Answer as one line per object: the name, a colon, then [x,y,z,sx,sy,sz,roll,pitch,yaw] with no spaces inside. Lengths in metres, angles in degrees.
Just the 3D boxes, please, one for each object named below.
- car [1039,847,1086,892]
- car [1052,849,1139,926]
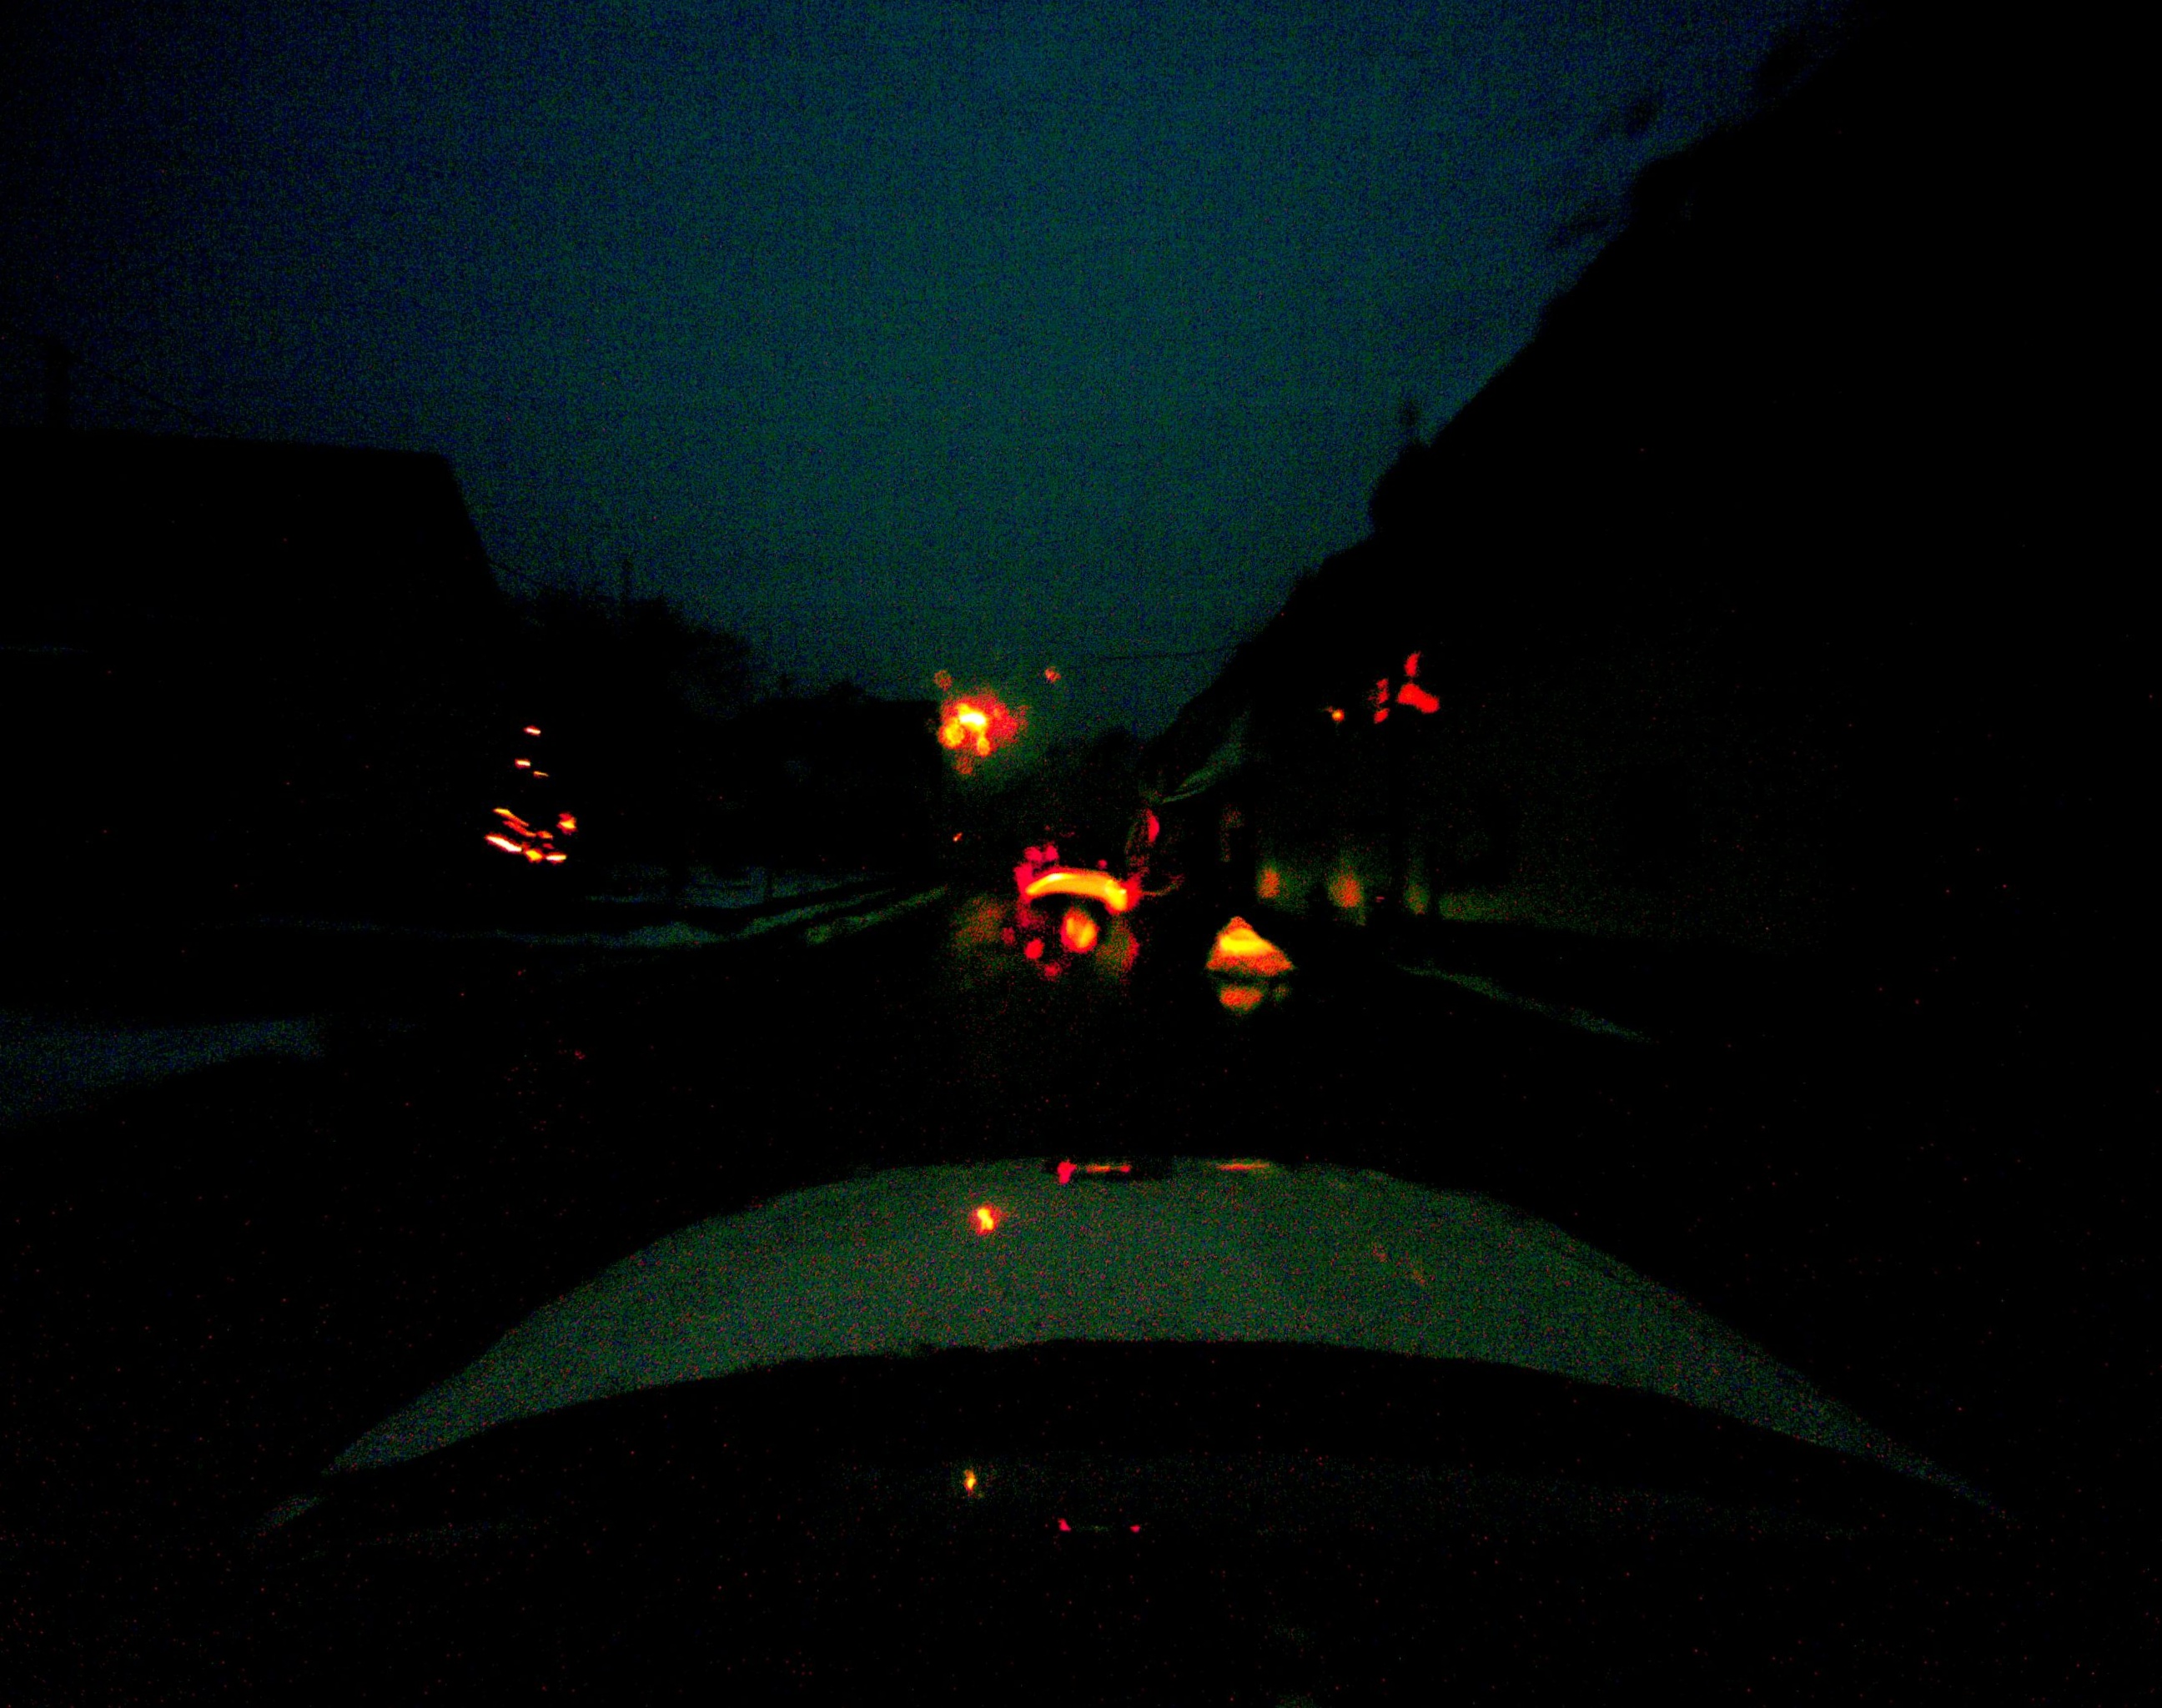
car: [-0.748,0.595,31.076,1.642,1.596,3.694,0,-1,-4]
car: [0.232,0.723,18.624,1.642,1.596,3.693,0,-1,-5]
